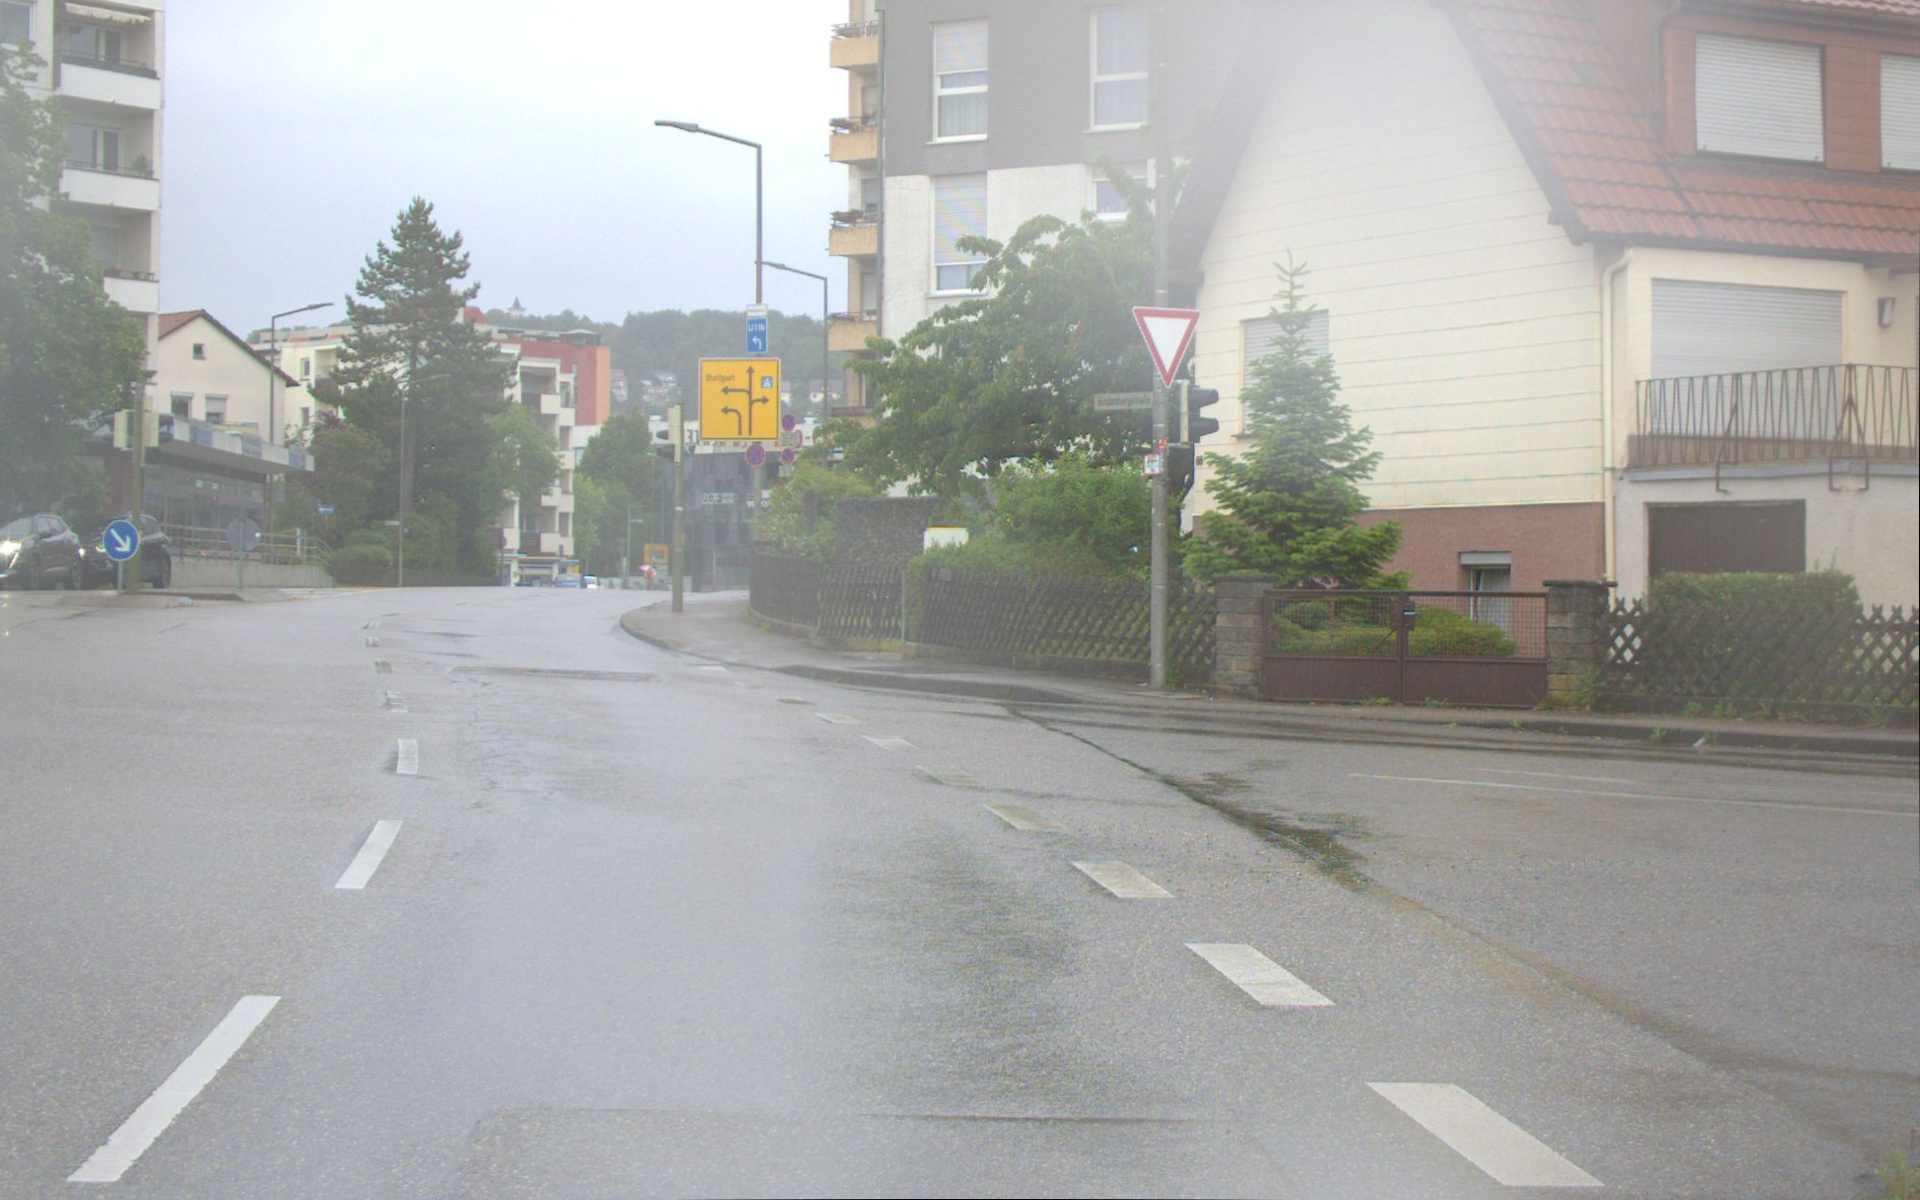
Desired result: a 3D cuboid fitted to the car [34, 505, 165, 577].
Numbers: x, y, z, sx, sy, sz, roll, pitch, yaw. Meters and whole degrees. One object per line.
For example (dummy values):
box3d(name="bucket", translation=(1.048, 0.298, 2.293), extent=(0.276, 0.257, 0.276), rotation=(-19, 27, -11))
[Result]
box3d(name="car", translation=(-17.837, -1.244, 71.407), extent=(1.778, 1.415, 3.831), rotation=(1, 1, -1))

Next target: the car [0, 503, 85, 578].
box3d(name="car", translation=(-18.060, -1.154, 65.639), extent=(1.715, 1.382, 4.021), rotation=(1, 1, -1))
